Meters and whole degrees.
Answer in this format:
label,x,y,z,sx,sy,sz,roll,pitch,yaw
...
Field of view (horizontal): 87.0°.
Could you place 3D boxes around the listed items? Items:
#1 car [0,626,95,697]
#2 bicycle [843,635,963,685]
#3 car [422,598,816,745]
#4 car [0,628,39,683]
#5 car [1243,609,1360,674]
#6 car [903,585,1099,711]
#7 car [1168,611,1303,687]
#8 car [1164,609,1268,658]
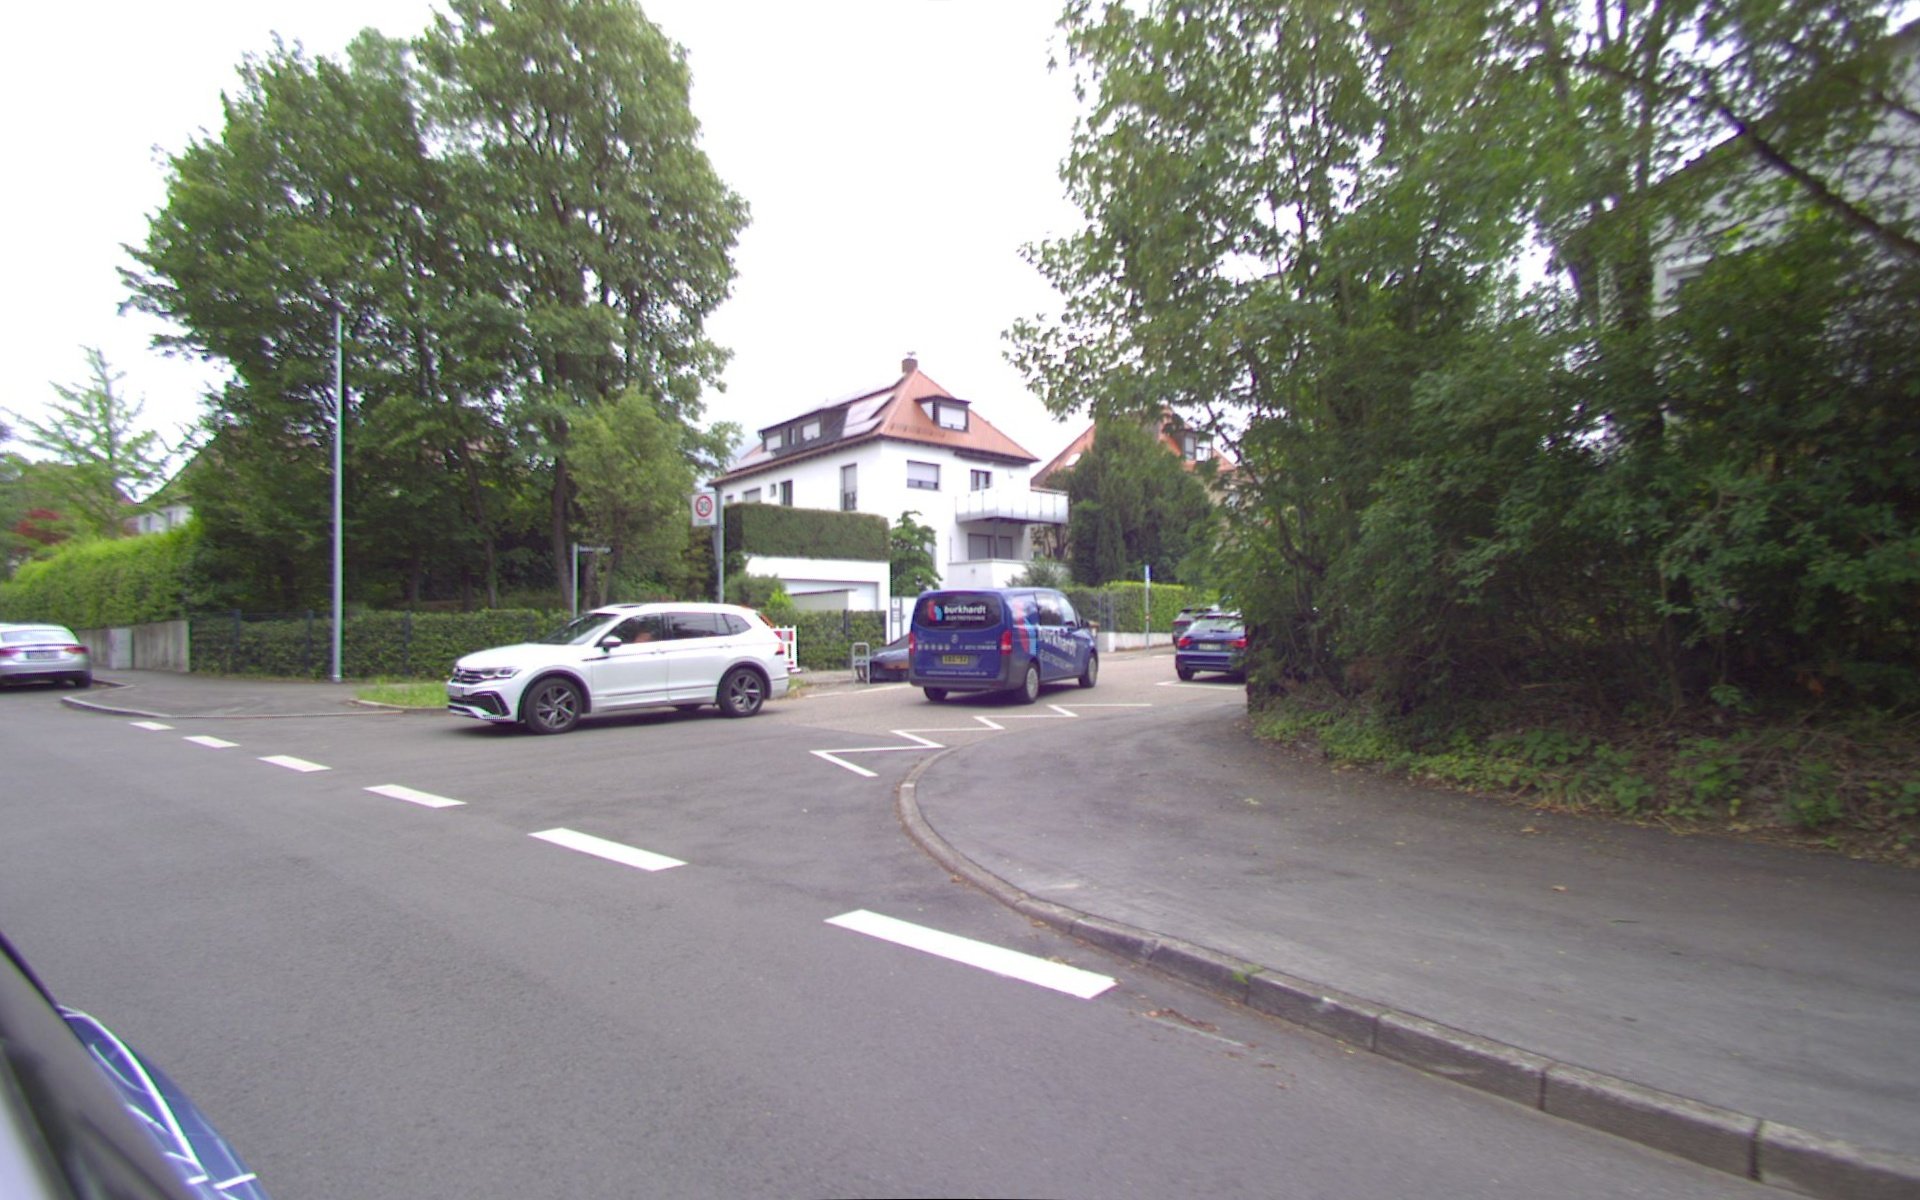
label,x,y,z,sx,sy,sz,roll,pitch,yaw
car,-20.641,1.314,22.196,4.441,1.384,1.813,-2,-1,40
bicycle,-1.252,1.296,22.211,2.540,1.009,0.655,-1,-1,-18
car,-4.617,0.850,14.273,2.038,1.682,4.879,-1,0,45
car,-26.863,1.518,27.531,4.330,1.384,1.760,-2,-1,35
car,8.347,0.953,24.572,1.528,1.423,3.748,-2,-1,38
car,0.873,0.755,17.607,1.930,1.894,4.495,-2,-1,23
car,5.828,0.963,21.156,1.667,1.423,3.510,-2,-1,34
car,8.803,1.121,34.587,1.764,1.540,3.912,-2,-1,43
